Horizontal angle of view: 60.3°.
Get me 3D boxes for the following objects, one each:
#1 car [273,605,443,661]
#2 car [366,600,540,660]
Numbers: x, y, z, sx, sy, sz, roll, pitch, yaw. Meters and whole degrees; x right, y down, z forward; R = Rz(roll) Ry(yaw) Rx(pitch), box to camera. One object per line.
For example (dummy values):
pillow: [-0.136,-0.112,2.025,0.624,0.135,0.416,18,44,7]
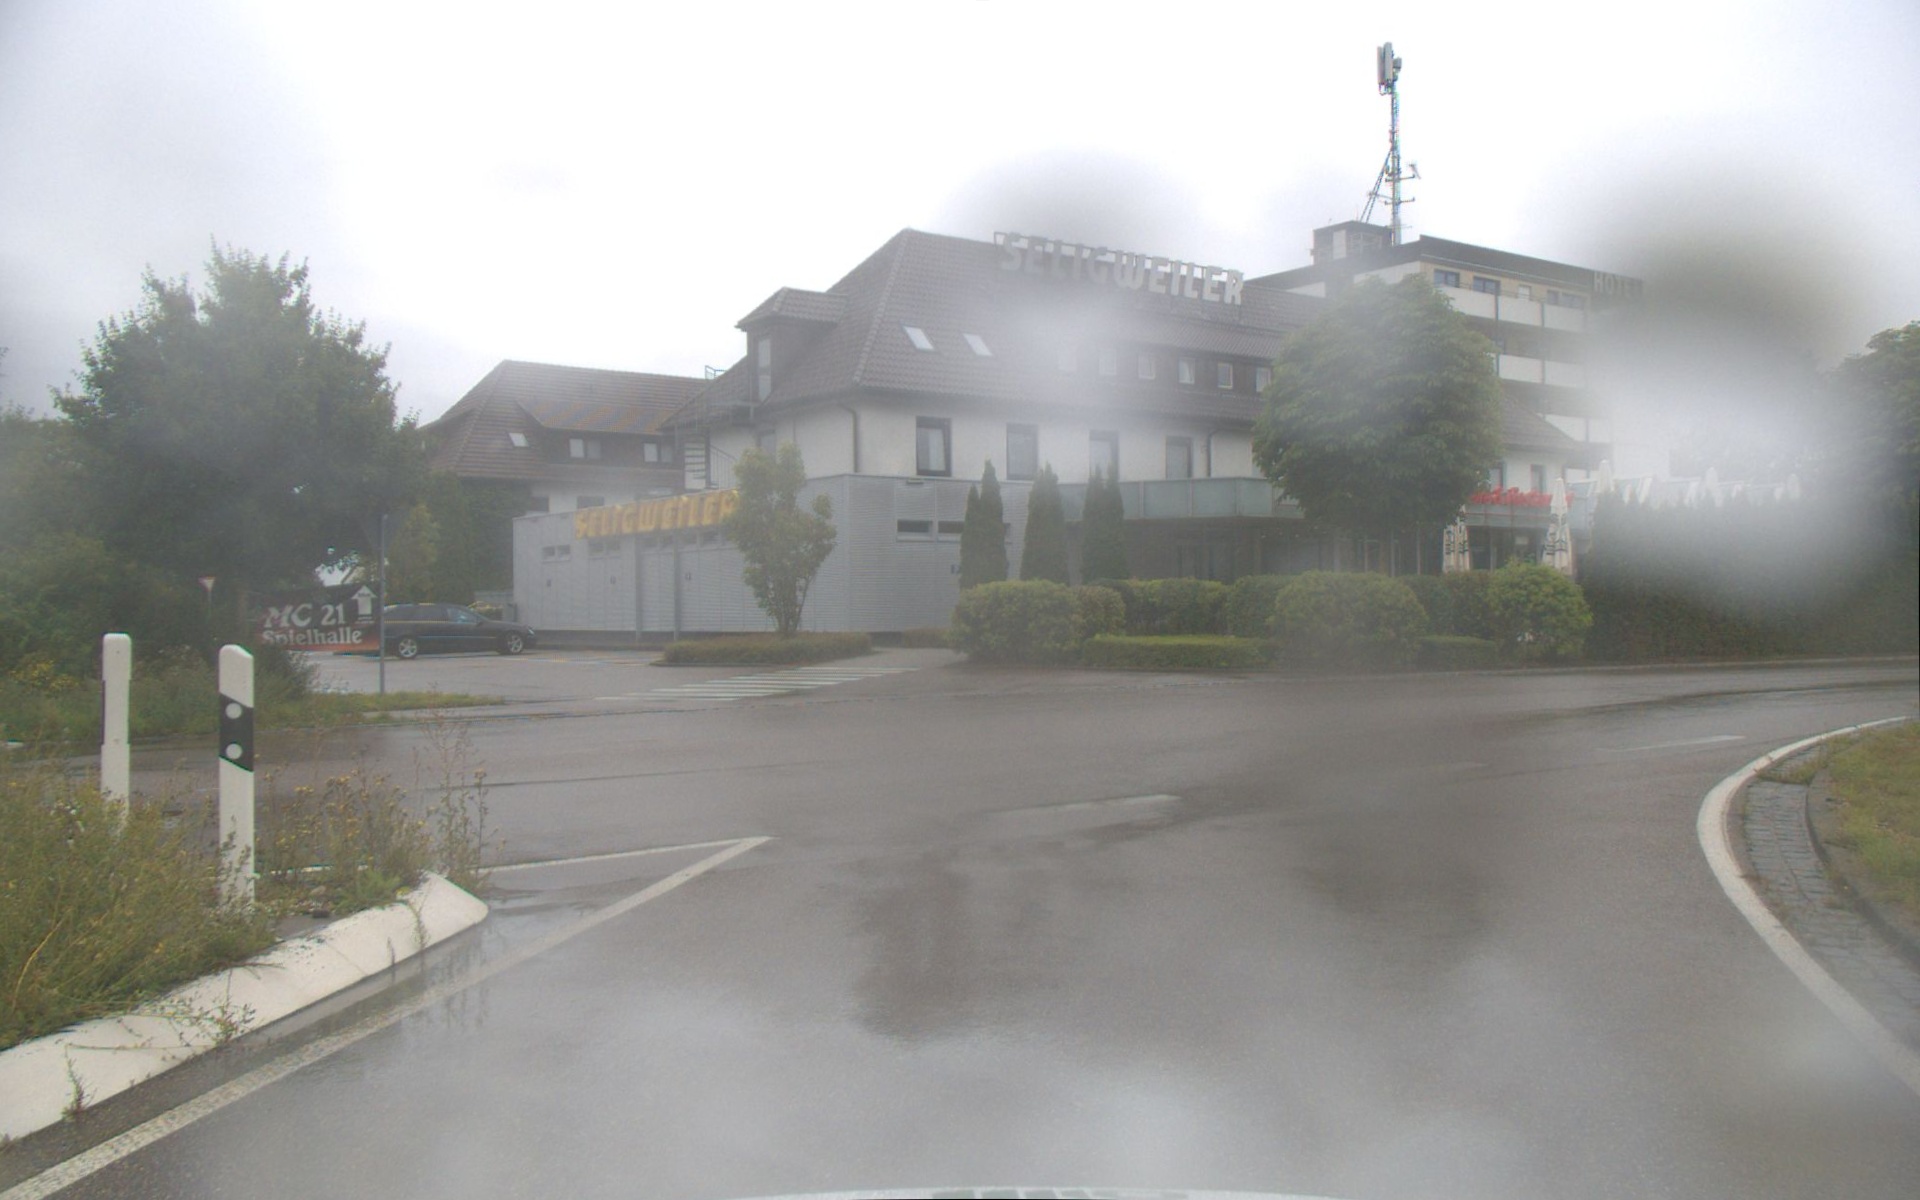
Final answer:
car: [-17.531,0.938,48.232,4.316,1.450,1.825,-2,0,-38]
car: [-13.623,0.780,44.456,4.291,1.450,1.693,-2,0,-25]
